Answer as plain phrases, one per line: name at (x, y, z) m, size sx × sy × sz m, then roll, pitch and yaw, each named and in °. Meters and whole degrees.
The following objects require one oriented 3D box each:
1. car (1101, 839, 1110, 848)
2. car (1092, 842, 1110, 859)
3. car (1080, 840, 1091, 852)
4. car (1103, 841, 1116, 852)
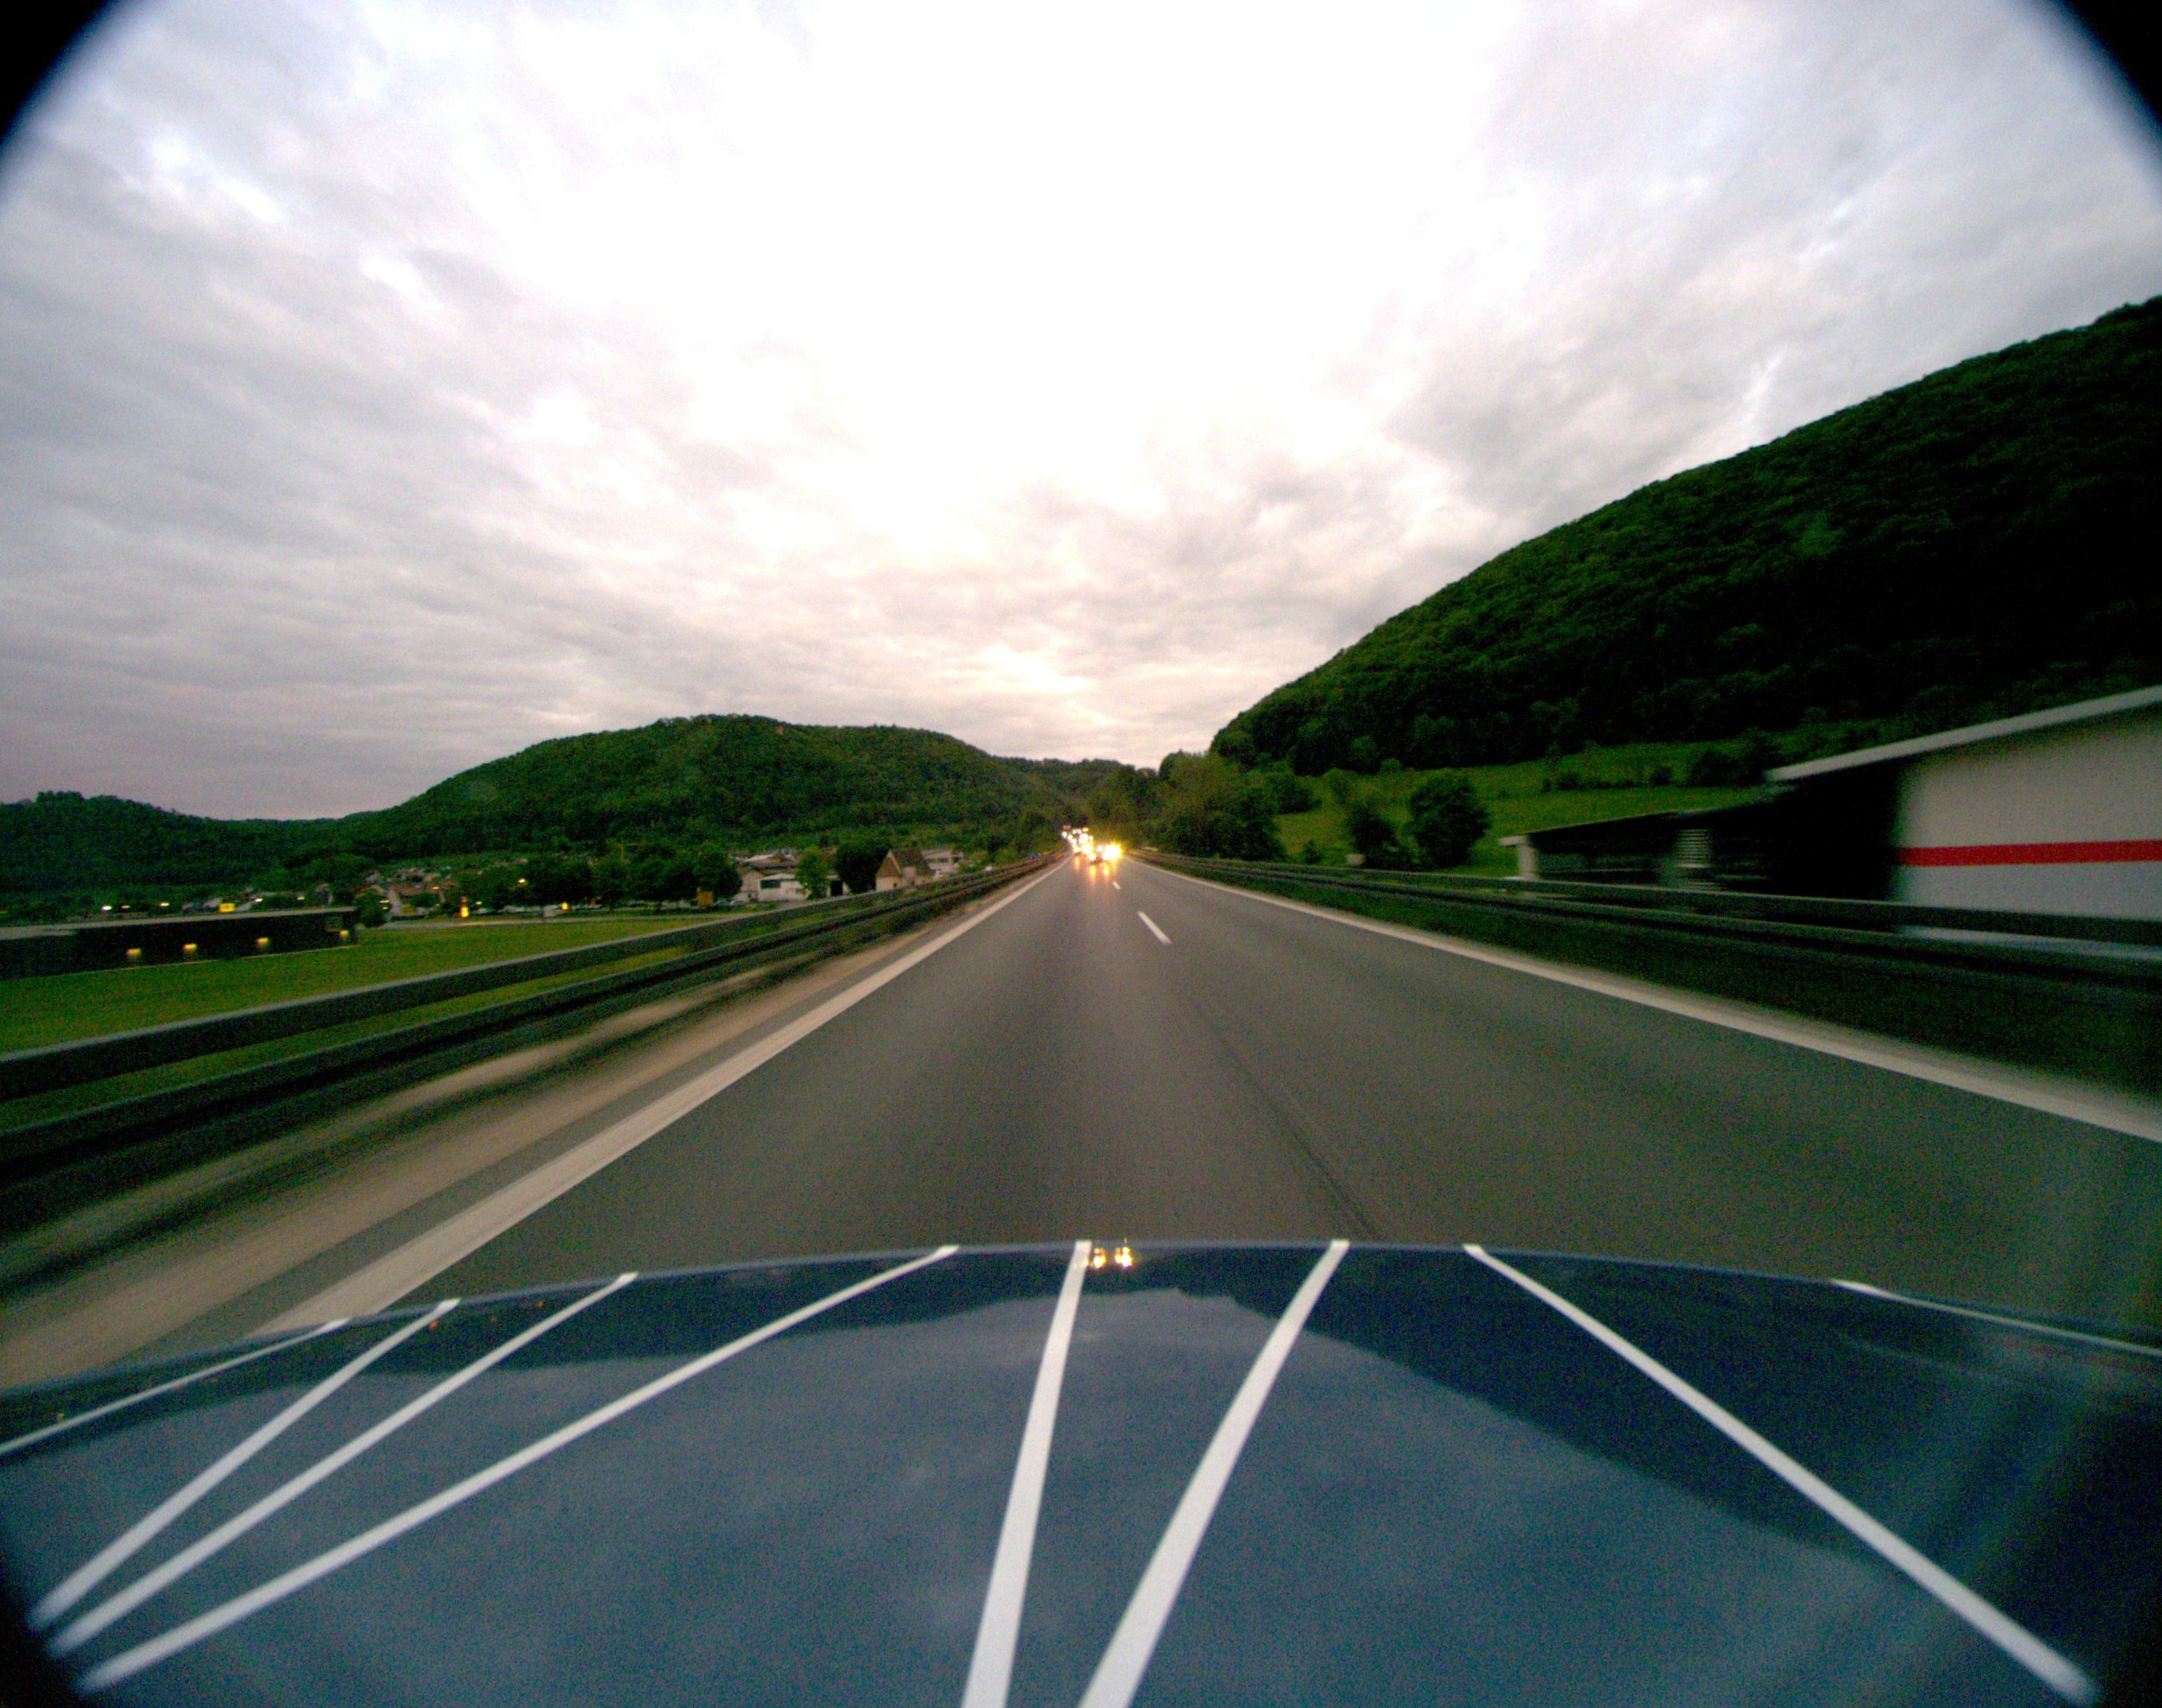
car at (4.525, -1.862, 140.803) m, size 1.690 × 1.424 × 3.670 m, roll -1°, pitch -3°, yaw 0°
car at (2.000, -0.340, 75.773) m, size 1.690 × 1.442 × 3.670 m, roll -1°, pitch -3°, yaw 0°
car at (0.722, -1.303, 118.628) m, size 1.737 × 1.640 × 3.670 m, roll -1°, pitch -3°, yaw 0°
car at (4.079, -1.076, 109.712) m, size 1.690 × 1.459 × 3.769 m, roll -1°, pitch -3°, yaw 0°
